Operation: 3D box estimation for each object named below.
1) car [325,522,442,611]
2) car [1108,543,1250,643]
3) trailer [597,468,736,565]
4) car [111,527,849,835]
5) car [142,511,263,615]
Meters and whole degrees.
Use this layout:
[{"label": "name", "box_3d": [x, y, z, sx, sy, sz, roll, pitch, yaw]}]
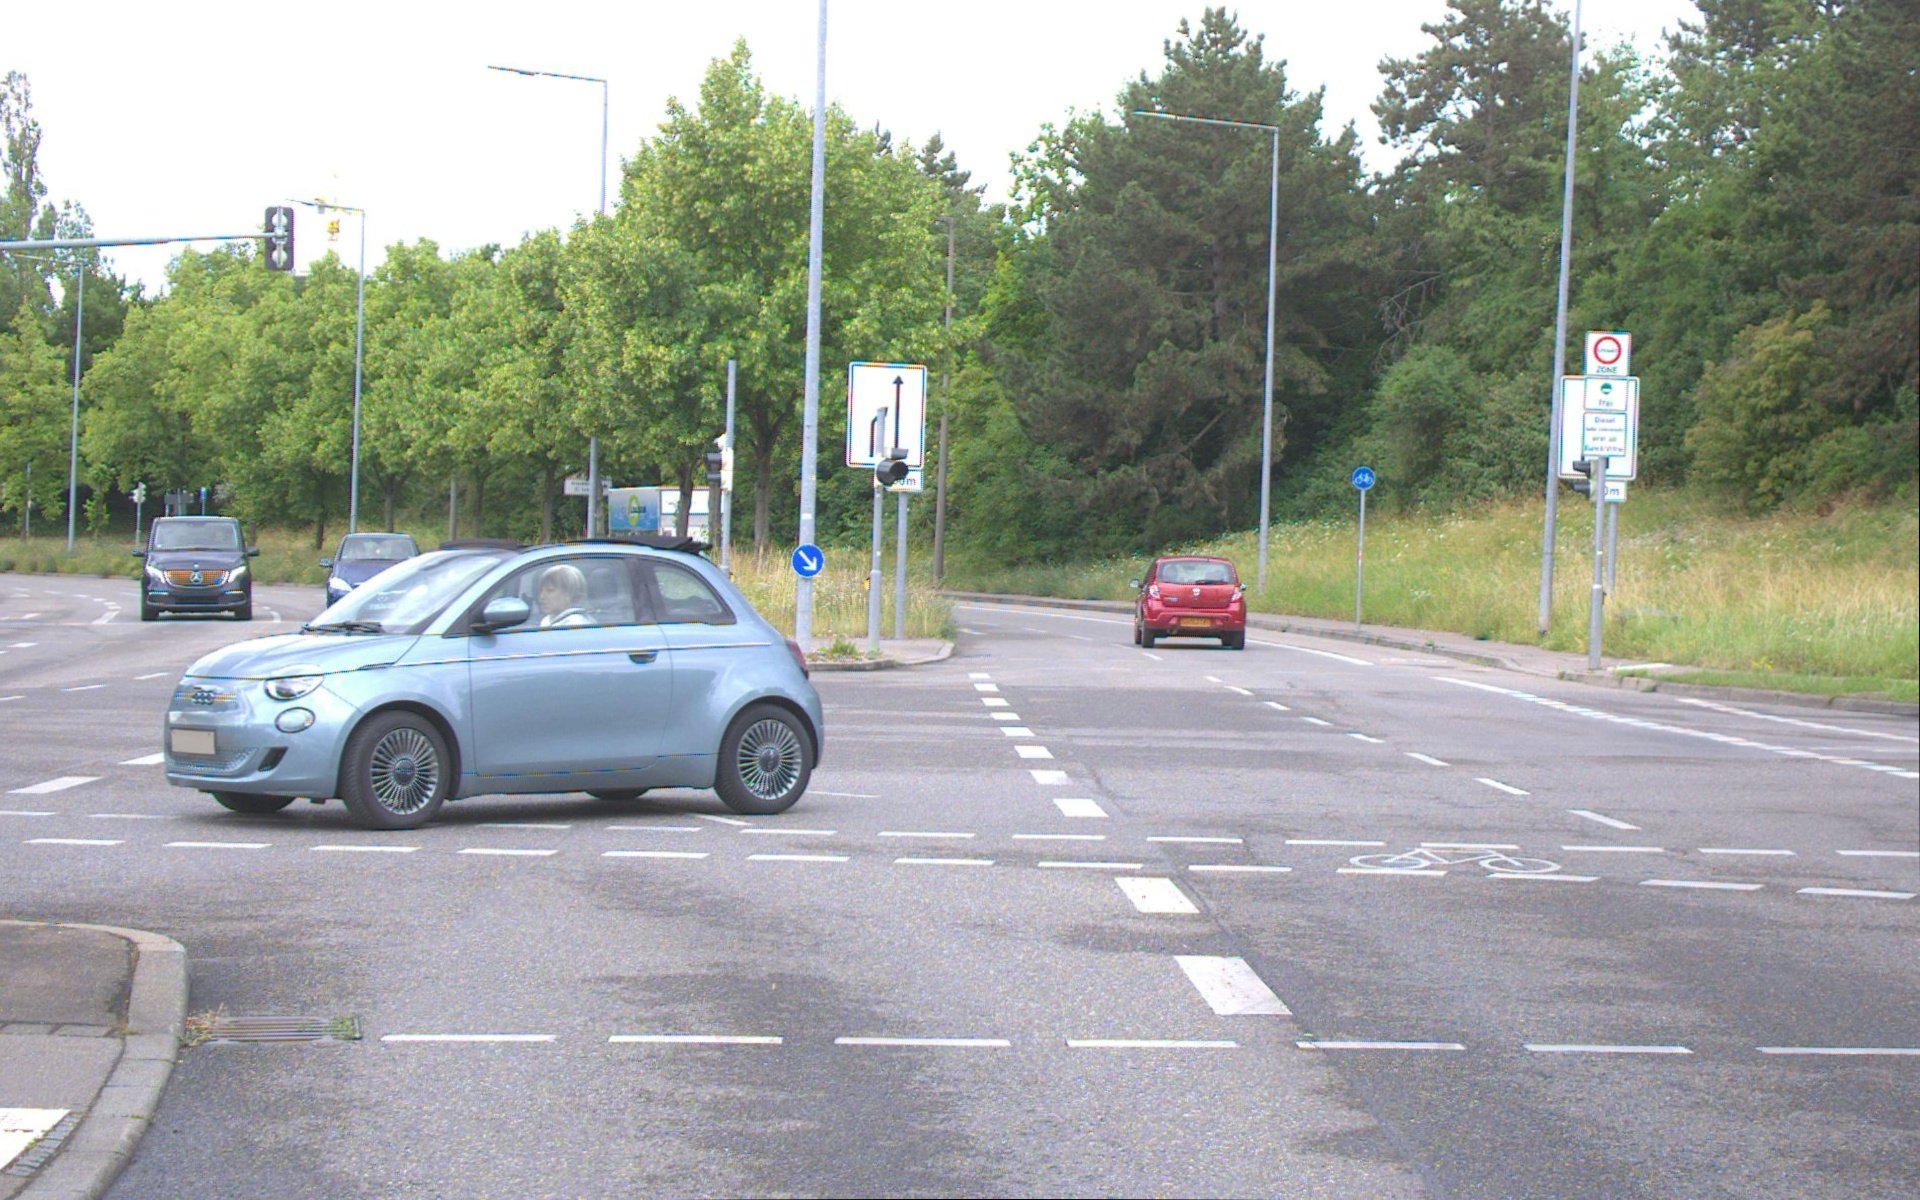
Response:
[{"label": "car", "box_3d": [-10.139, -0.585, 60.663, 1.735, 1.503, 3.661, 1, 0, -5]}, {"label": "car", "box_3d": [3.614, -0.131, 57.358, 1.784, 1.598, 3.888, 1, 0, -5]}, {"label": "trailer", "box_3d": [-9.499, -2.646, 110.650, 2.746, 3.002, 6.089, 1, 0, -22]}, {"label": "car", "box_3d": [-2.581, 0.397, 18.814, 3.590, 1.523, 1.761, 0, 1, -38]}, {"label": "car", "box_3d": [-13.672, -0.692, 62.245, 1.887, 1.806, 5.094, 0, 1, -10]}]
